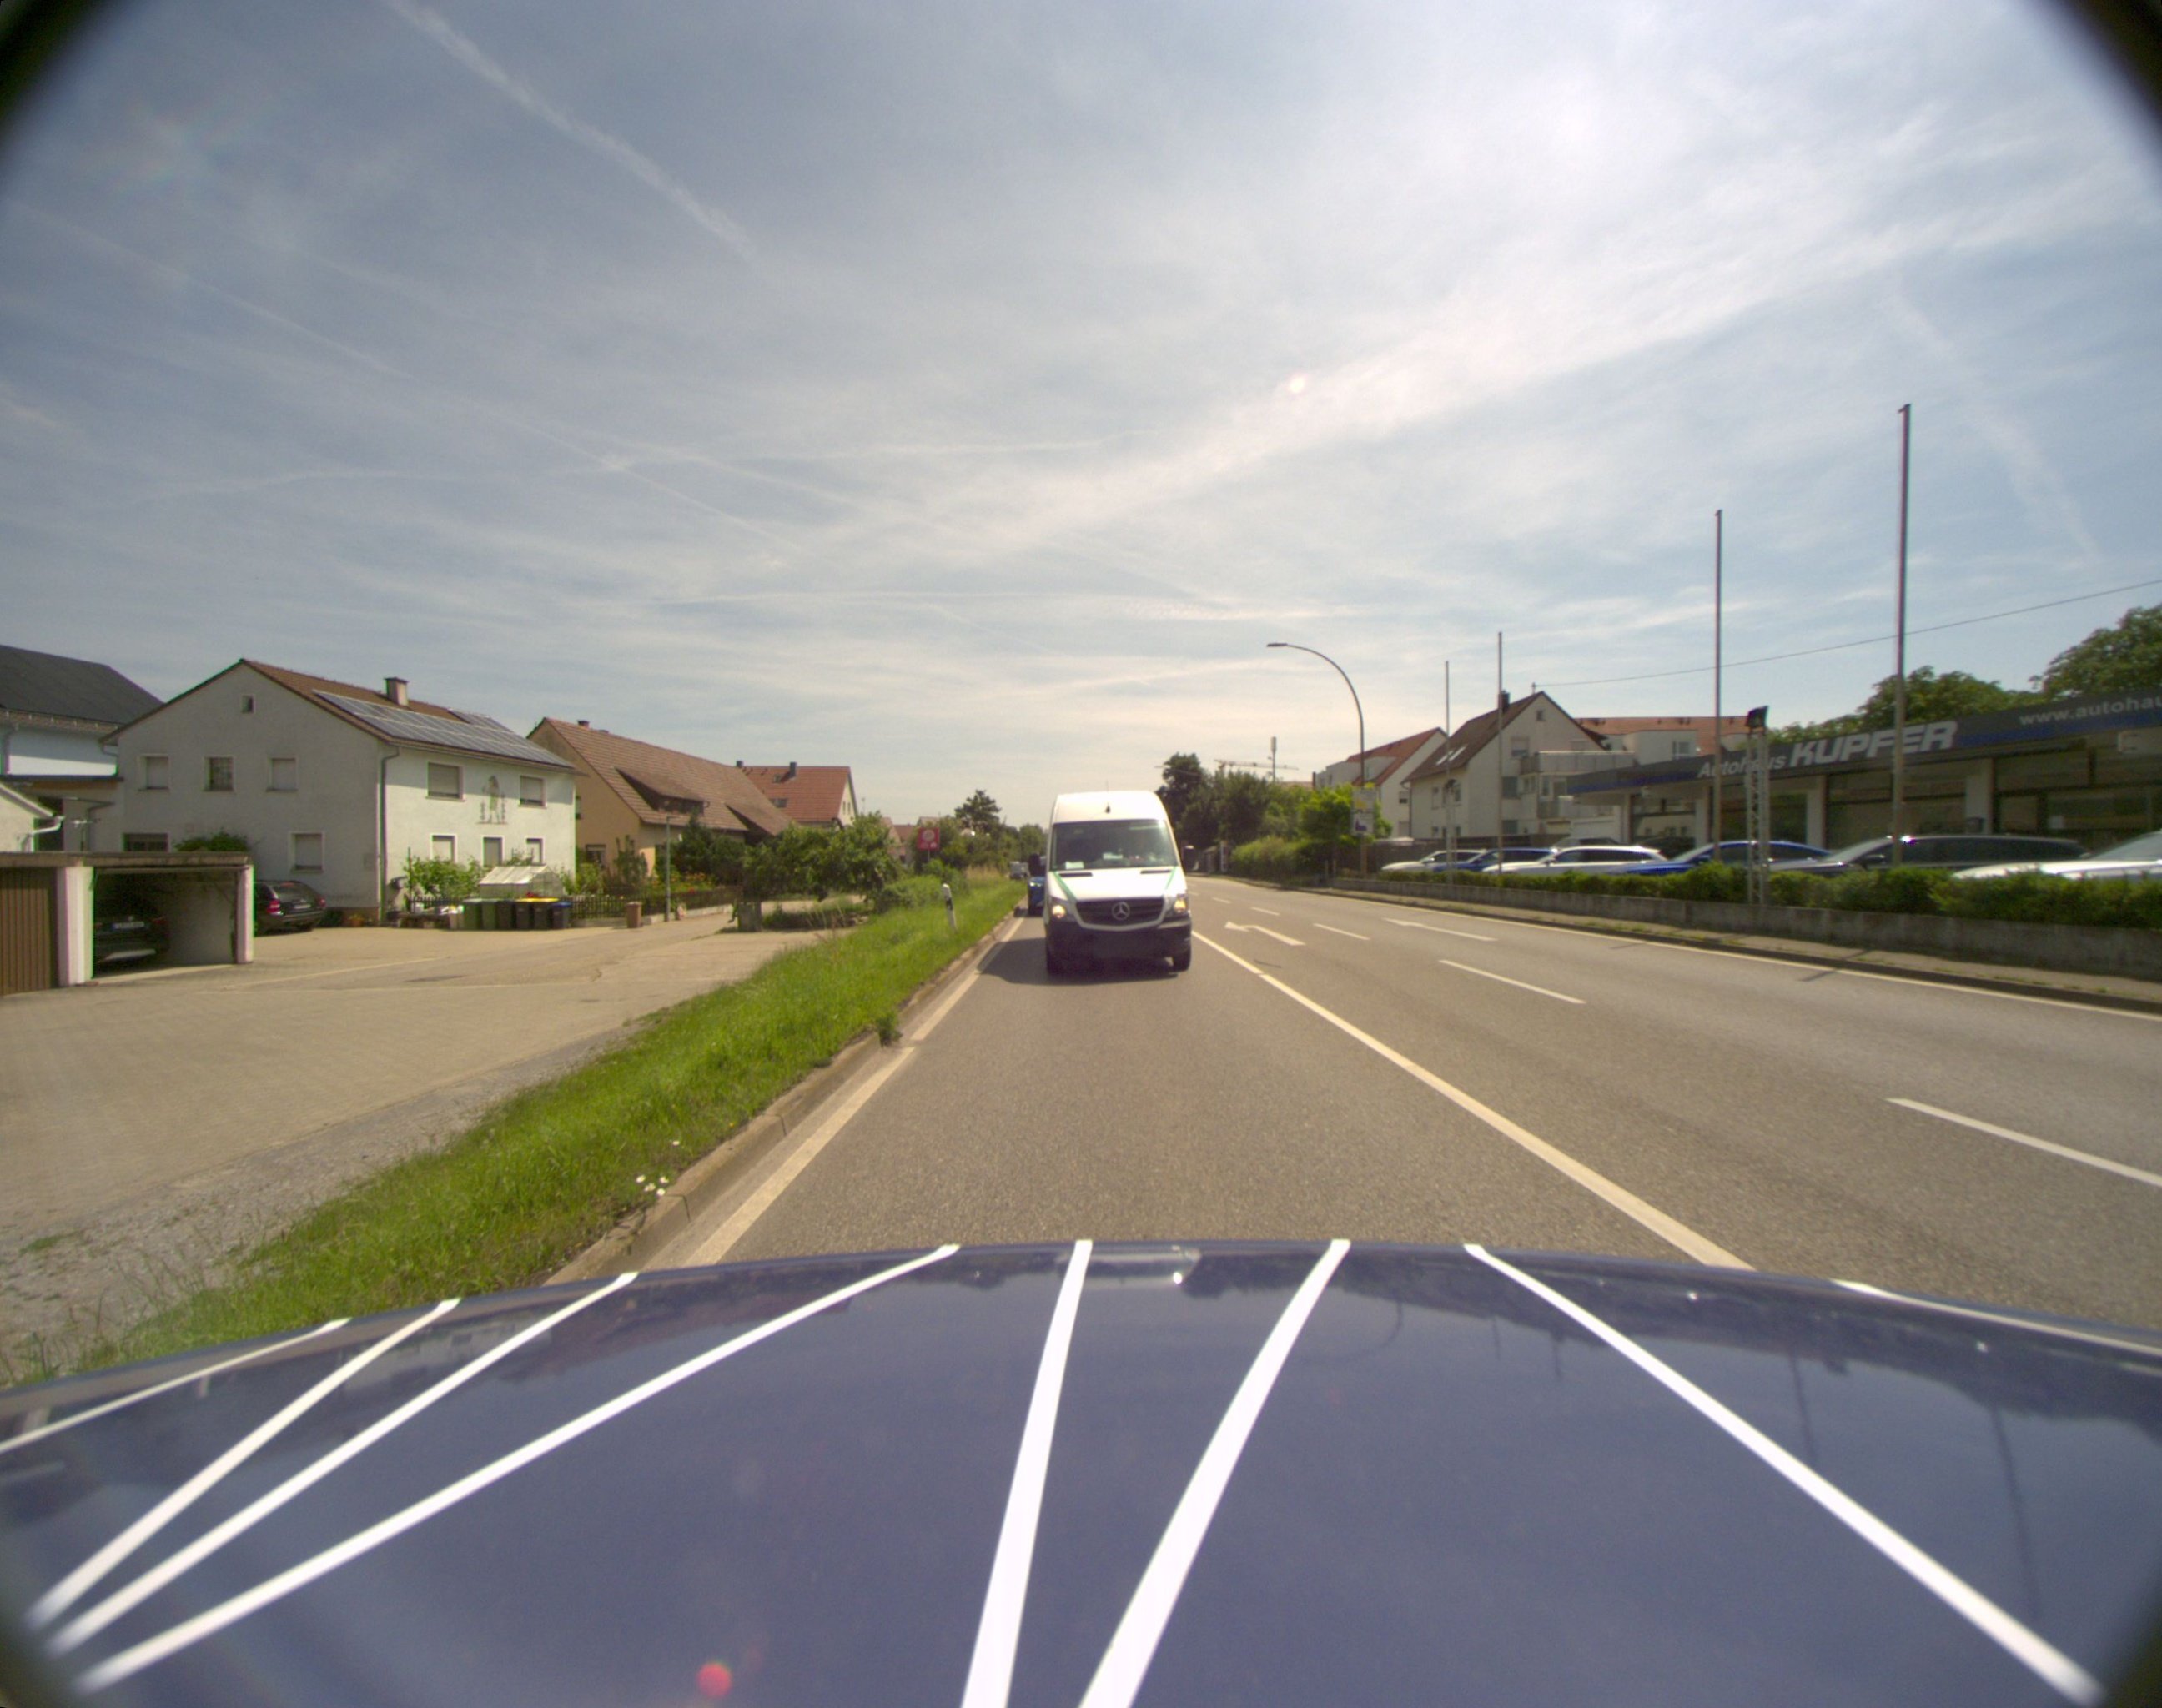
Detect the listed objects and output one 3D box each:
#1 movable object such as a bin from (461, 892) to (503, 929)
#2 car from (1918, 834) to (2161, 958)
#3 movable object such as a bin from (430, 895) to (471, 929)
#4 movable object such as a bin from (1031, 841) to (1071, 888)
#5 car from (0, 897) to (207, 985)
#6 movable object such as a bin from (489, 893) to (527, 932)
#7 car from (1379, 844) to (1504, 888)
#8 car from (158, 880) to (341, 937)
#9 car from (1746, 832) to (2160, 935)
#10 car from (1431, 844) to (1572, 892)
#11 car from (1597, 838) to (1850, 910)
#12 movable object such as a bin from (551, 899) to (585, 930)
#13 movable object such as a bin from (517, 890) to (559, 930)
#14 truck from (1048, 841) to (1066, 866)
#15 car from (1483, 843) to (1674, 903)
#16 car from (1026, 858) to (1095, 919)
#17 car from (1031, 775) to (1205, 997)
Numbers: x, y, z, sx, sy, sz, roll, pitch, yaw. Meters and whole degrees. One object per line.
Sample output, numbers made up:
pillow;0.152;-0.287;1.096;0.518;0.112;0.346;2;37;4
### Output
movable object such as a bin;-21.649;2.036;27.490;0.745;1.239;0.889;-2;0;0
car;13.980;0.475;9.495;4.329;1.451;1.858;-2;0;25
movable object such as a bin;-22.608;2.076;27.250;0.740;1.149;0.830;-2;0;0
movable object such as a bin;-1.840;0.609;47.928;1.998;2.710;5.420;-2;0;2
car;-21.301;1.788;15.863;3.996;1.594;1.826;-2;0;1
movable object such as a bin;-20.728;2.116;27.501;0.678;1.330;0.820;-2;0;0
car;14.079;0.483;29.753;4.255;1.521;2.003;-2;0;27
car;-27.153;1.751;24.910;3.997;1.724;1.828;0;1;1
car;14.480;0.504;13.017;4.250;1.536;1.853;-2;0;24
car;14.154;0.467;25.780;3.990;1.455;2.003;-2;0;27
car;14.181;0.457;17.110;3.990;1.433;1.857;-2;0;26
movable object such as a bin;-18.385;2.150;27.251;0.645;1.021;0.756;-2;0;0
movable object such as a bin;-19.396;1.992;27.177;0.765;1.362;0.946;-2;0;0
truck;-3.845;-0.048;122.739;2.506;3.847;5.497;-2;0;0
car;13.837;0.548;21.494;4.303;1.510;2.003;-2;0;28
car;-0.536;0.937;22.222;1.824;1.574;3.902;-1;0;0
car;0.461;0.392;11.937;1.977;2.584;5.634;-2;0;0
